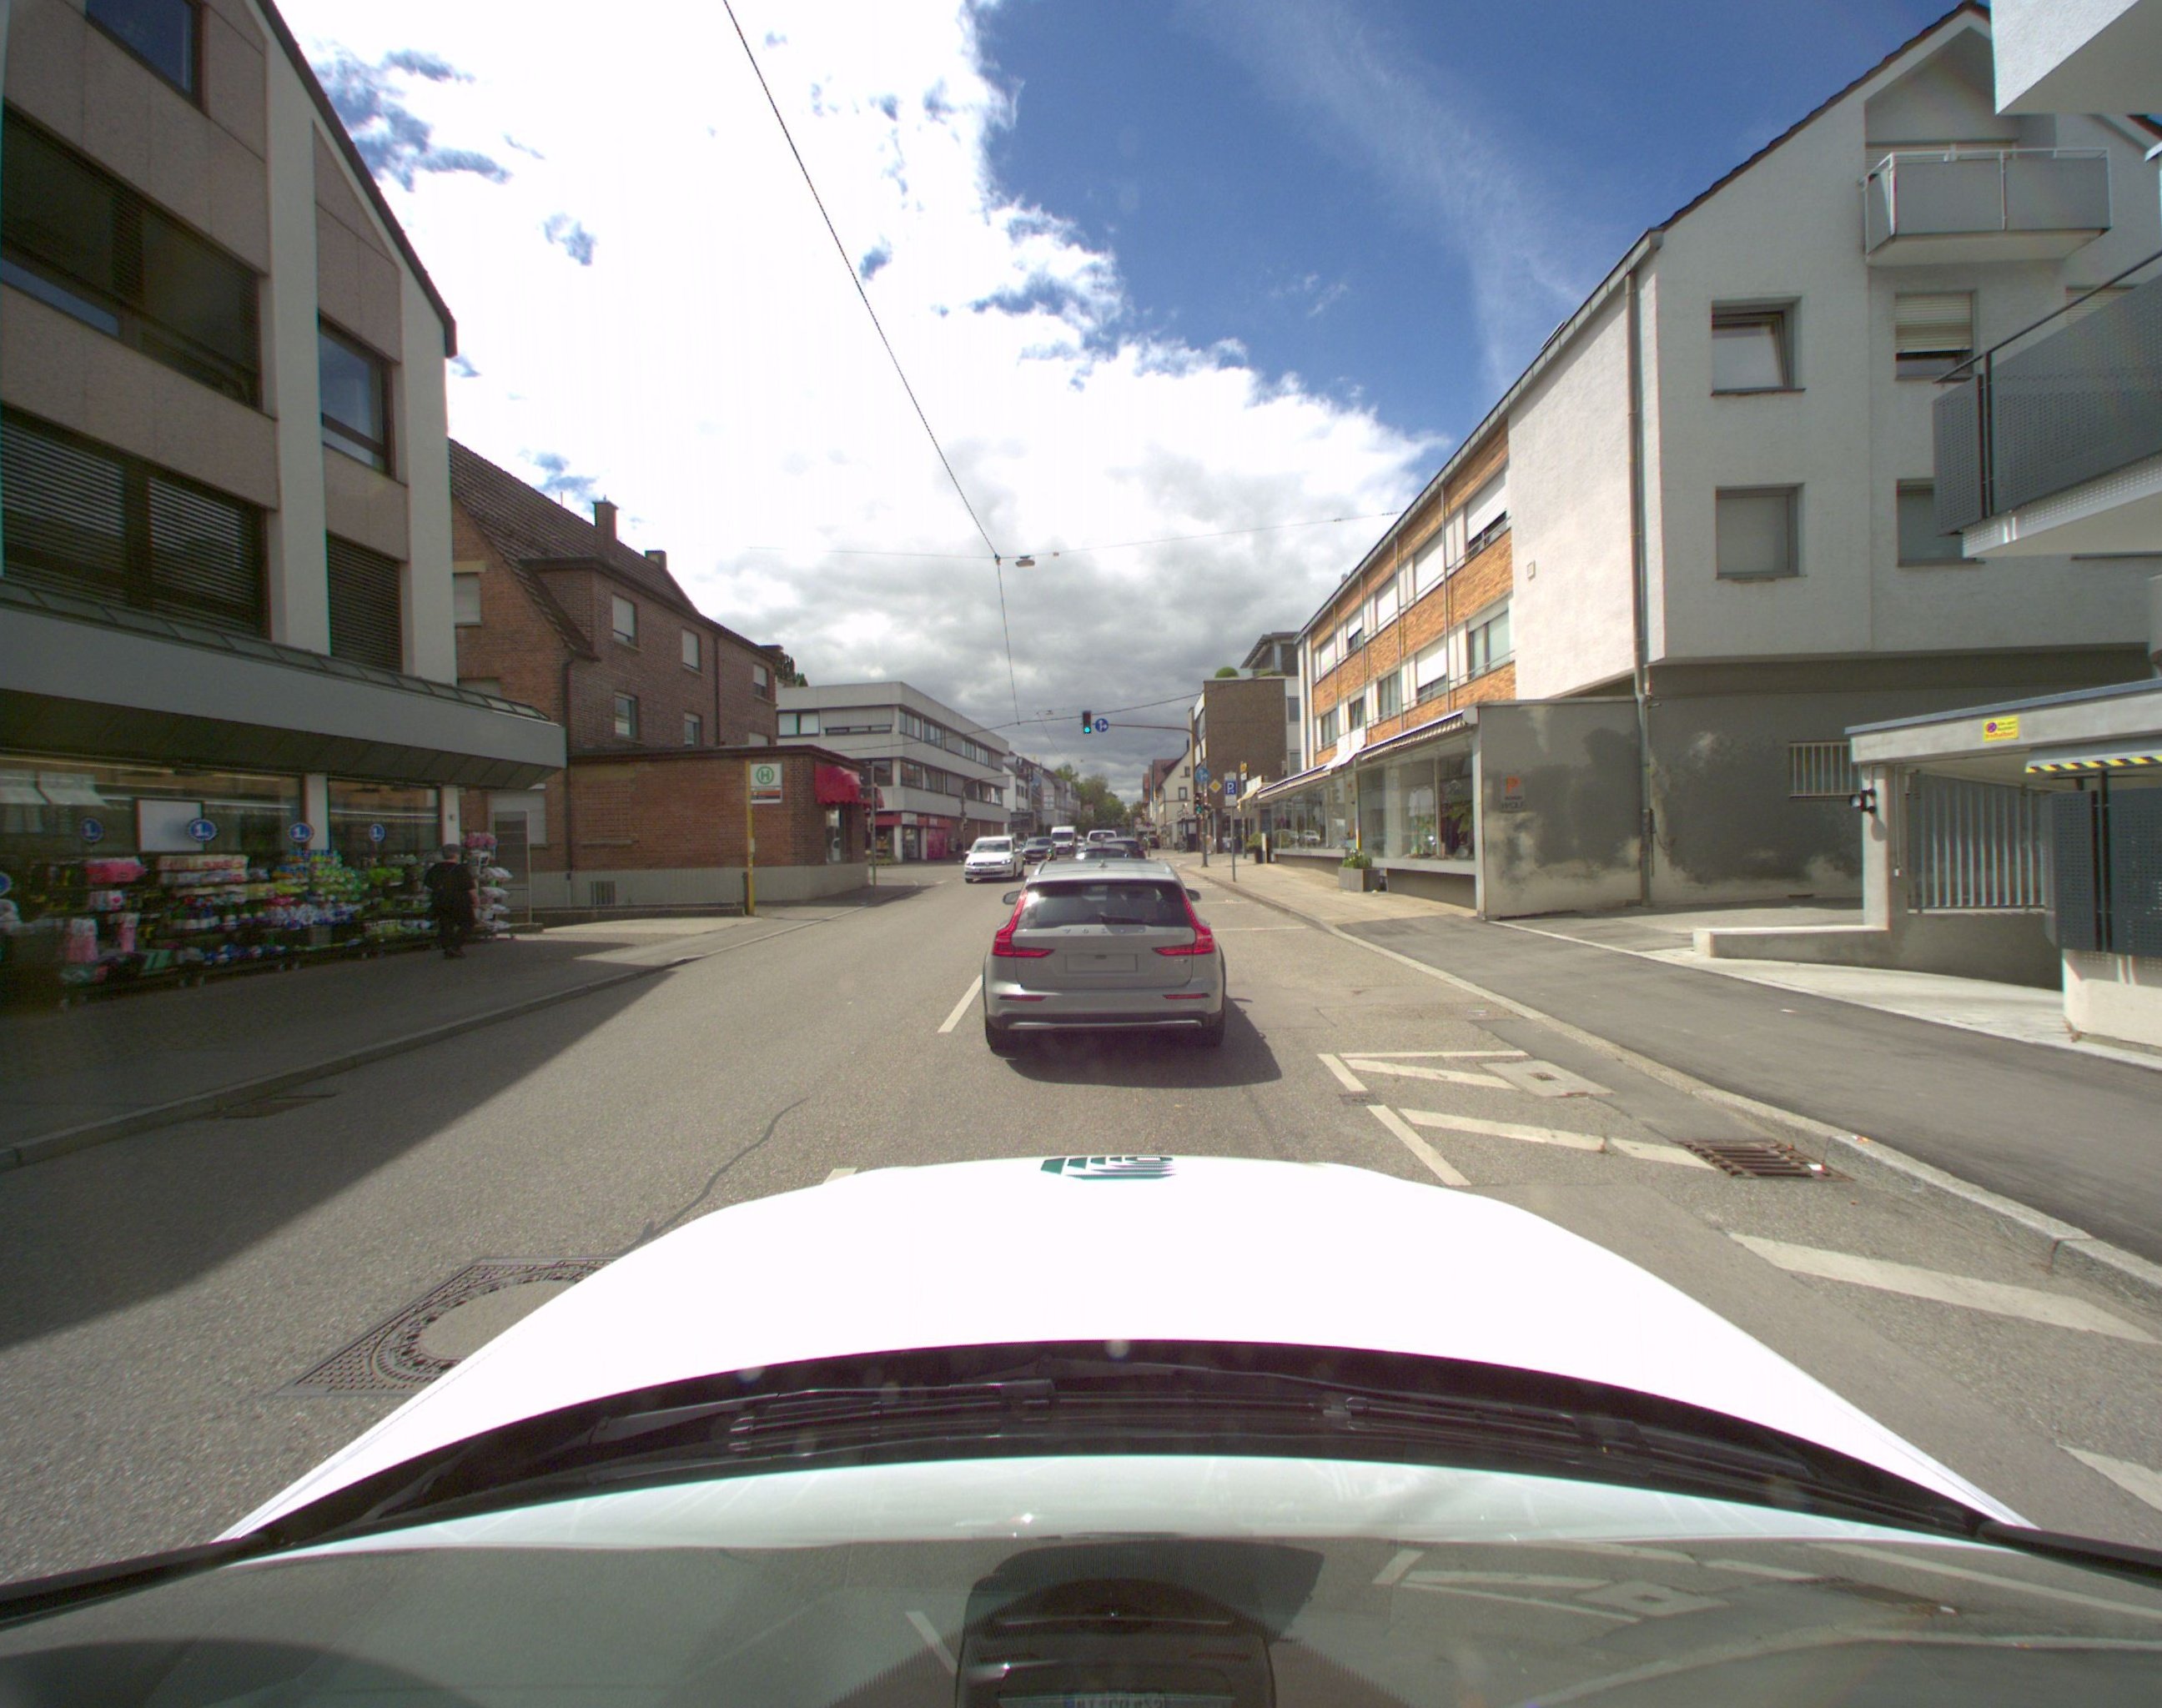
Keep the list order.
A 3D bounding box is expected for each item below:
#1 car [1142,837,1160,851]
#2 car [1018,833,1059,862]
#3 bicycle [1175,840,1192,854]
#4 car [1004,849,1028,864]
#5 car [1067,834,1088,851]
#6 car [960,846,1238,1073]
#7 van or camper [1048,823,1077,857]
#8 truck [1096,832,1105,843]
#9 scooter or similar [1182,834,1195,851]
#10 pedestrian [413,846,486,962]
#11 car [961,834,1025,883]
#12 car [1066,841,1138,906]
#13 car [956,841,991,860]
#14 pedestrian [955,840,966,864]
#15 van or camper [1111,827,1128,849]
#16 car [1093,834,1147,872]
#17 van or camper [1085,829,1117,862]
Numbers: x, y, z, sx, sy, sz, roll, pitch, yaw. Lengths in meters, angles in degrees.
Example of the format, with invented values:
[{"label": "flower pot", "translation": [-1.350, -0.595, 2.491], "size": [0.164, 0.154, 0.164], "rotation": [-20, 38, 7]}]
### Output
[{"label": "car", "translation": [7.925, -1.082, 92.872], "size": [1.705, 1.464, 4.000], "rotation": [-1, -1, 0]}, {"label": "car", "translation": [-2.328, -0.350, 45.830], "size": [1.782, 1.511, 3.850], "rotation": [-1, 0, 5]}, {"label": "bicycle", "translation": [8.504, -0.576, 67.869], "size": [0.555, 1.144, 2.288], "rotation": [-3, 1, -15]}, {"label": "car", "translation": [-6.424, 0.264, 81.179], "size": [1.747, 1.426, 3.867], "rotation": [-1, 0, 5]}, {"label": "car", "translation": [-0.308, -1.156, 80.856], "size": [1.773, 1.639, 4.225], "rotation": [-3, 1, 3]}, {"label": "car", "translation": [0.183, 0.712, 7.473], "size": [1.829, 1.486, 4.002], "rotation": [-1, 0, 2]}, {"label": "van or camper", "translation": [-1.478, -1.191, 67.022], "size": [2.141, 2.556, 5.439], "rotation": [-2, 2, 0]}, {"label": "truck", "translation": [5.116, -4.301, 212.590], "size": [2.266, 2.886, 7.086], "rotation": [-2, 1, 3]}, {"label": "scooter or similar", "translation": [8.525, -0.900, 64.722], "size": [0.342, 1.253, 1.236], "rotation": [-4, 0, -23]}, {"label": "pedestrian", "translation": [-8.833, 0.677, 11.401], "size": [0.776, 1.558, 0.567], "rotation": [1, -2, -39]}, {"label": "car", "translation": [-3.208, 0.117, 30.453], "size": [1.768, 1.612, 4.122], "rotation": [-3, 2, 2]}, {"label": "car", "translation": [0.542, 0.439, 20.723], "size": [1.644, 1.482, 3.609], "rotation": [-1, 0, 2]}, {"label": "car", "translation": [-8.369, -0.317, 63.846], "size": [1.776, 1.464, 4.094], "rotation": [0, 1, 6]}, {"label": "pedestrian", "translation": [-8.420, -0.173, 57.002], "size": [0.616, 1.641, 0.661], "rotation": [-2, 1, 3]}, {"label": "van or camper", "translation": [4.985, -2.001, 104.792], "size": [2.114, 2.686, 4.785], "rotation": [-2, 1, 3]}, {"label": "car", "translation": [1.473, -0.025, 32.019], "size": [1.803, 1.346, 3.715], "rotation": [-1, 0, -2]}, {"label": "van or camper", "translation": [1.247, -0.483, 49.079], "size": [1.812, 1.835, 4.001], "rotation": [-1, -1, 2]}]
